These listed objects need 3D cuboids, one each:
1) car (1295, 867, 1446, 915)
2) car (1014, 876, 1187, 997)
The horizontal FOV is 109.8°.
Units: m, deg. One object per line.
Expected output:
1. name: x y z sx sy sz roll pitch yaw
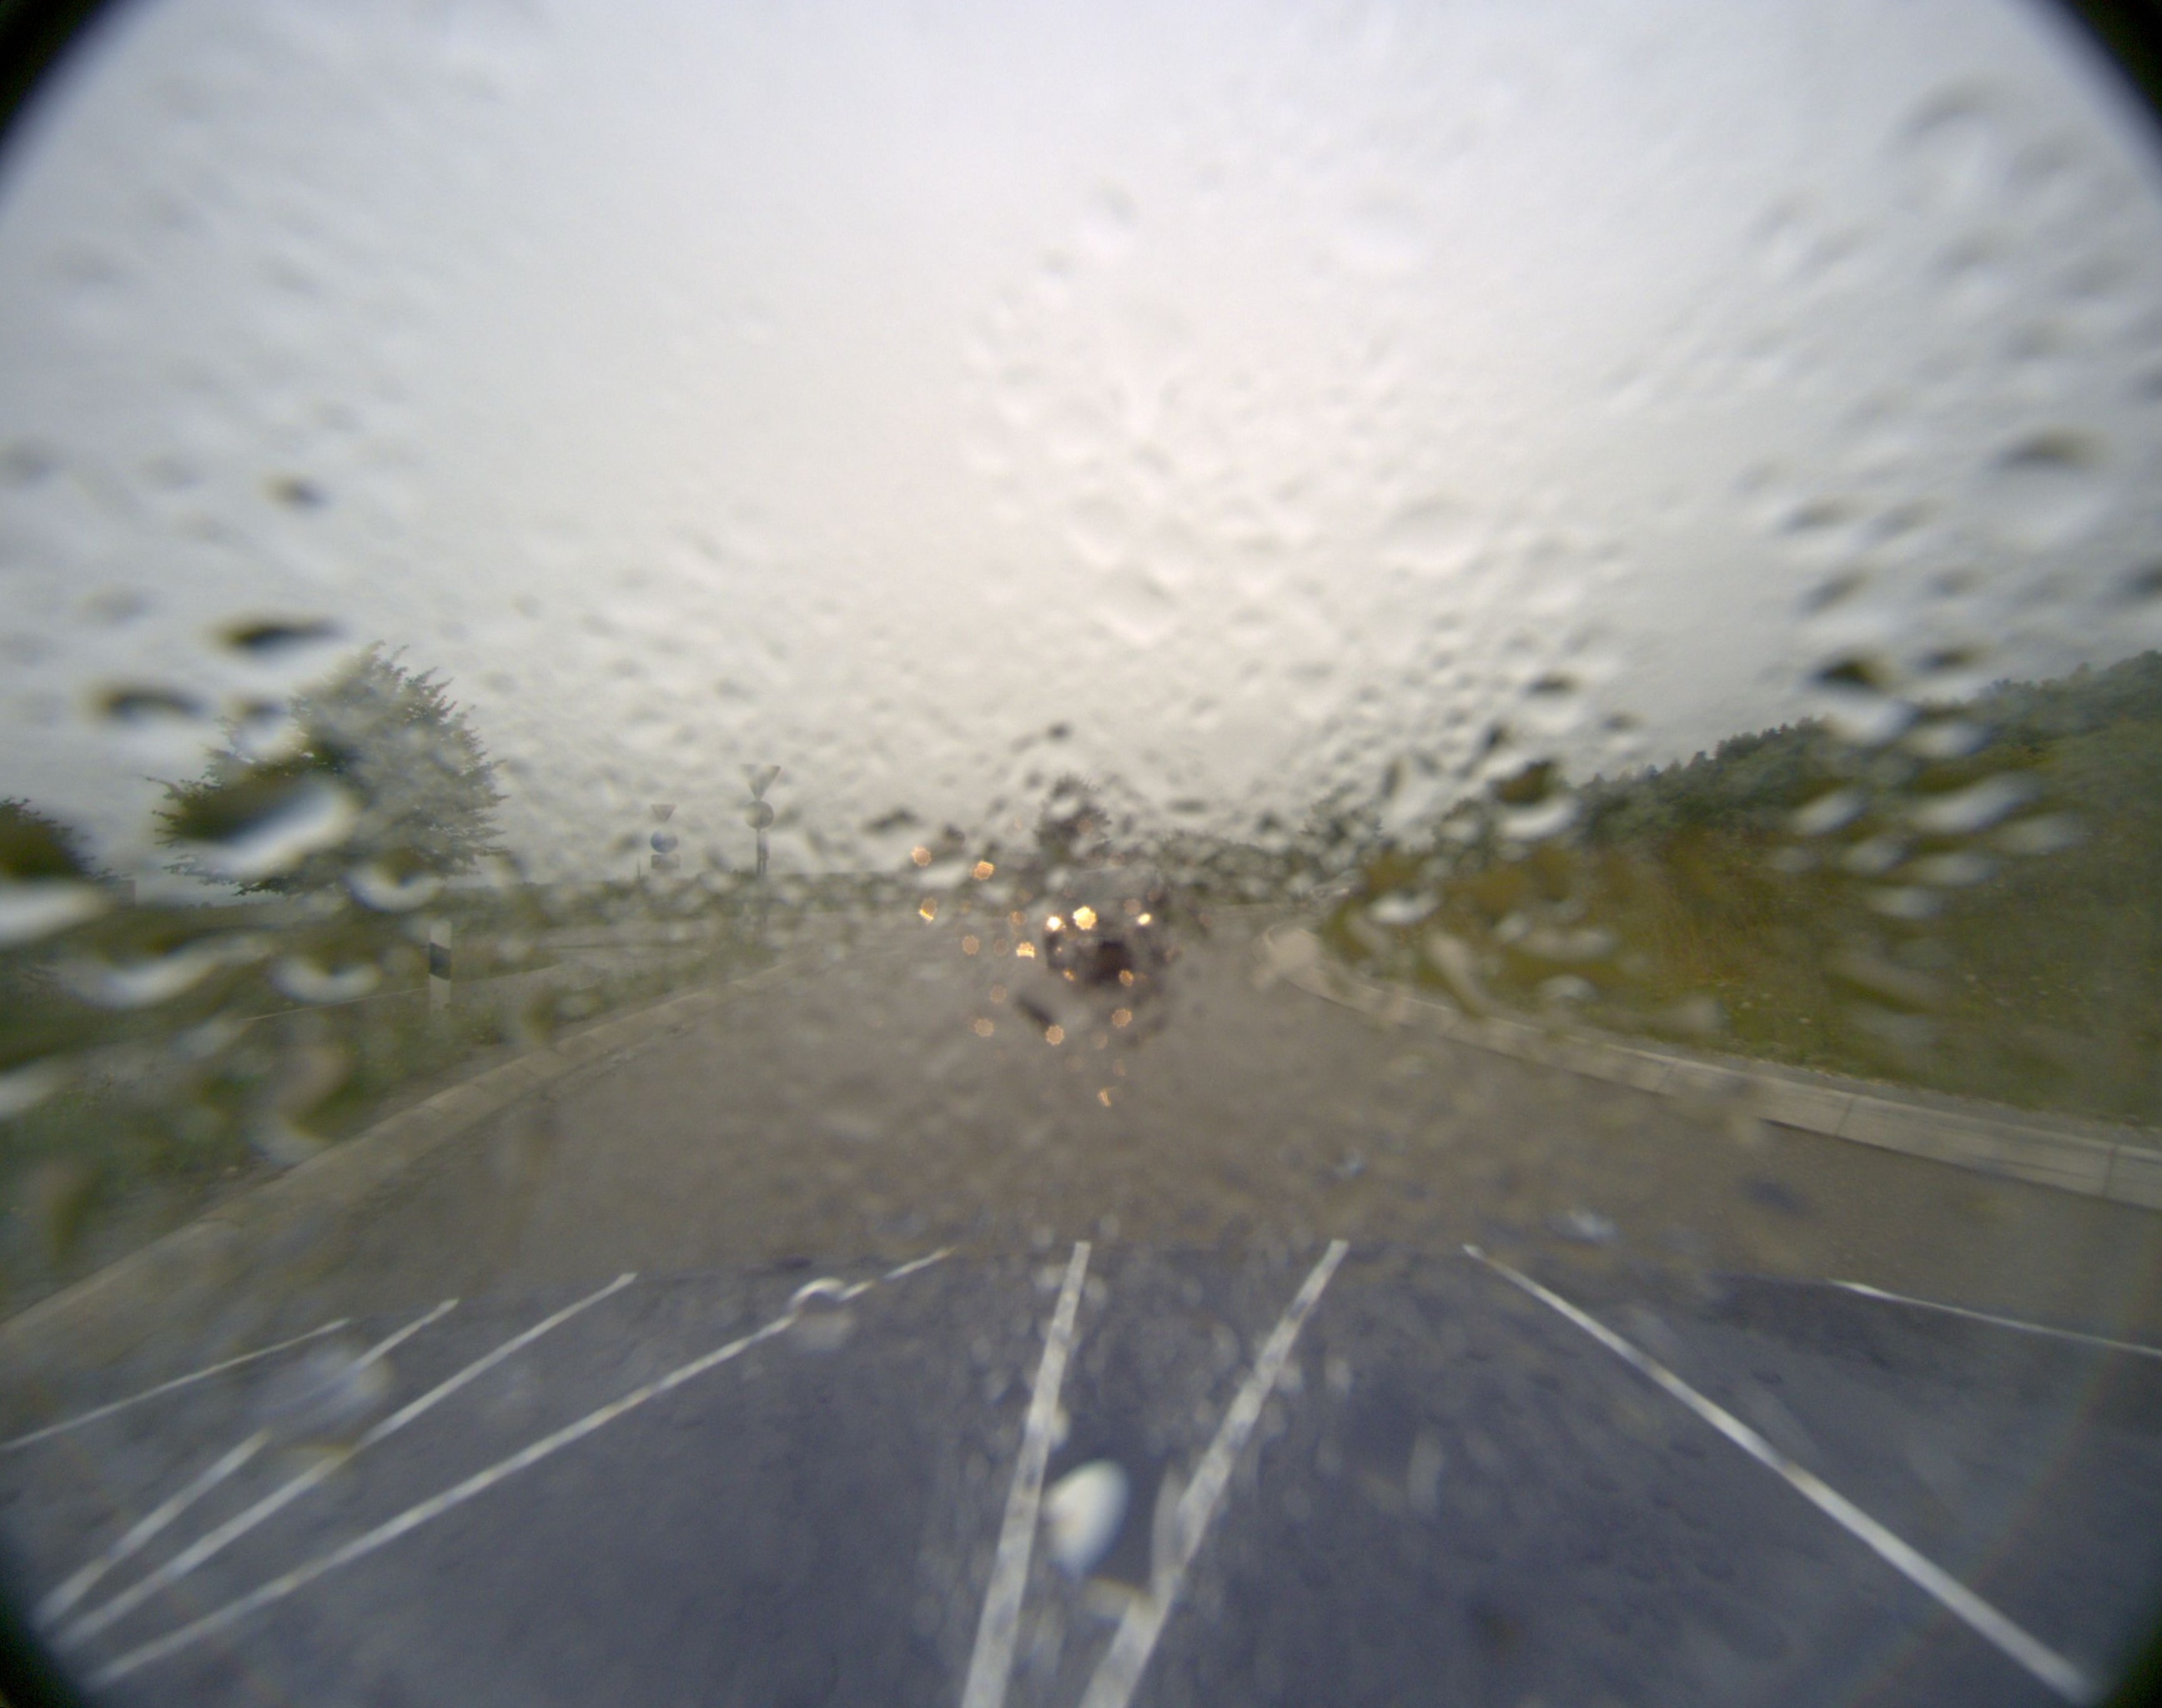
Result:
1. car: 9.071 1.135 23.761 4.511 1.363 1.946 1 -2 -29
2. car: 0.521 1.068 11.491 1.871 1.412 4.508 -1 -1 11
